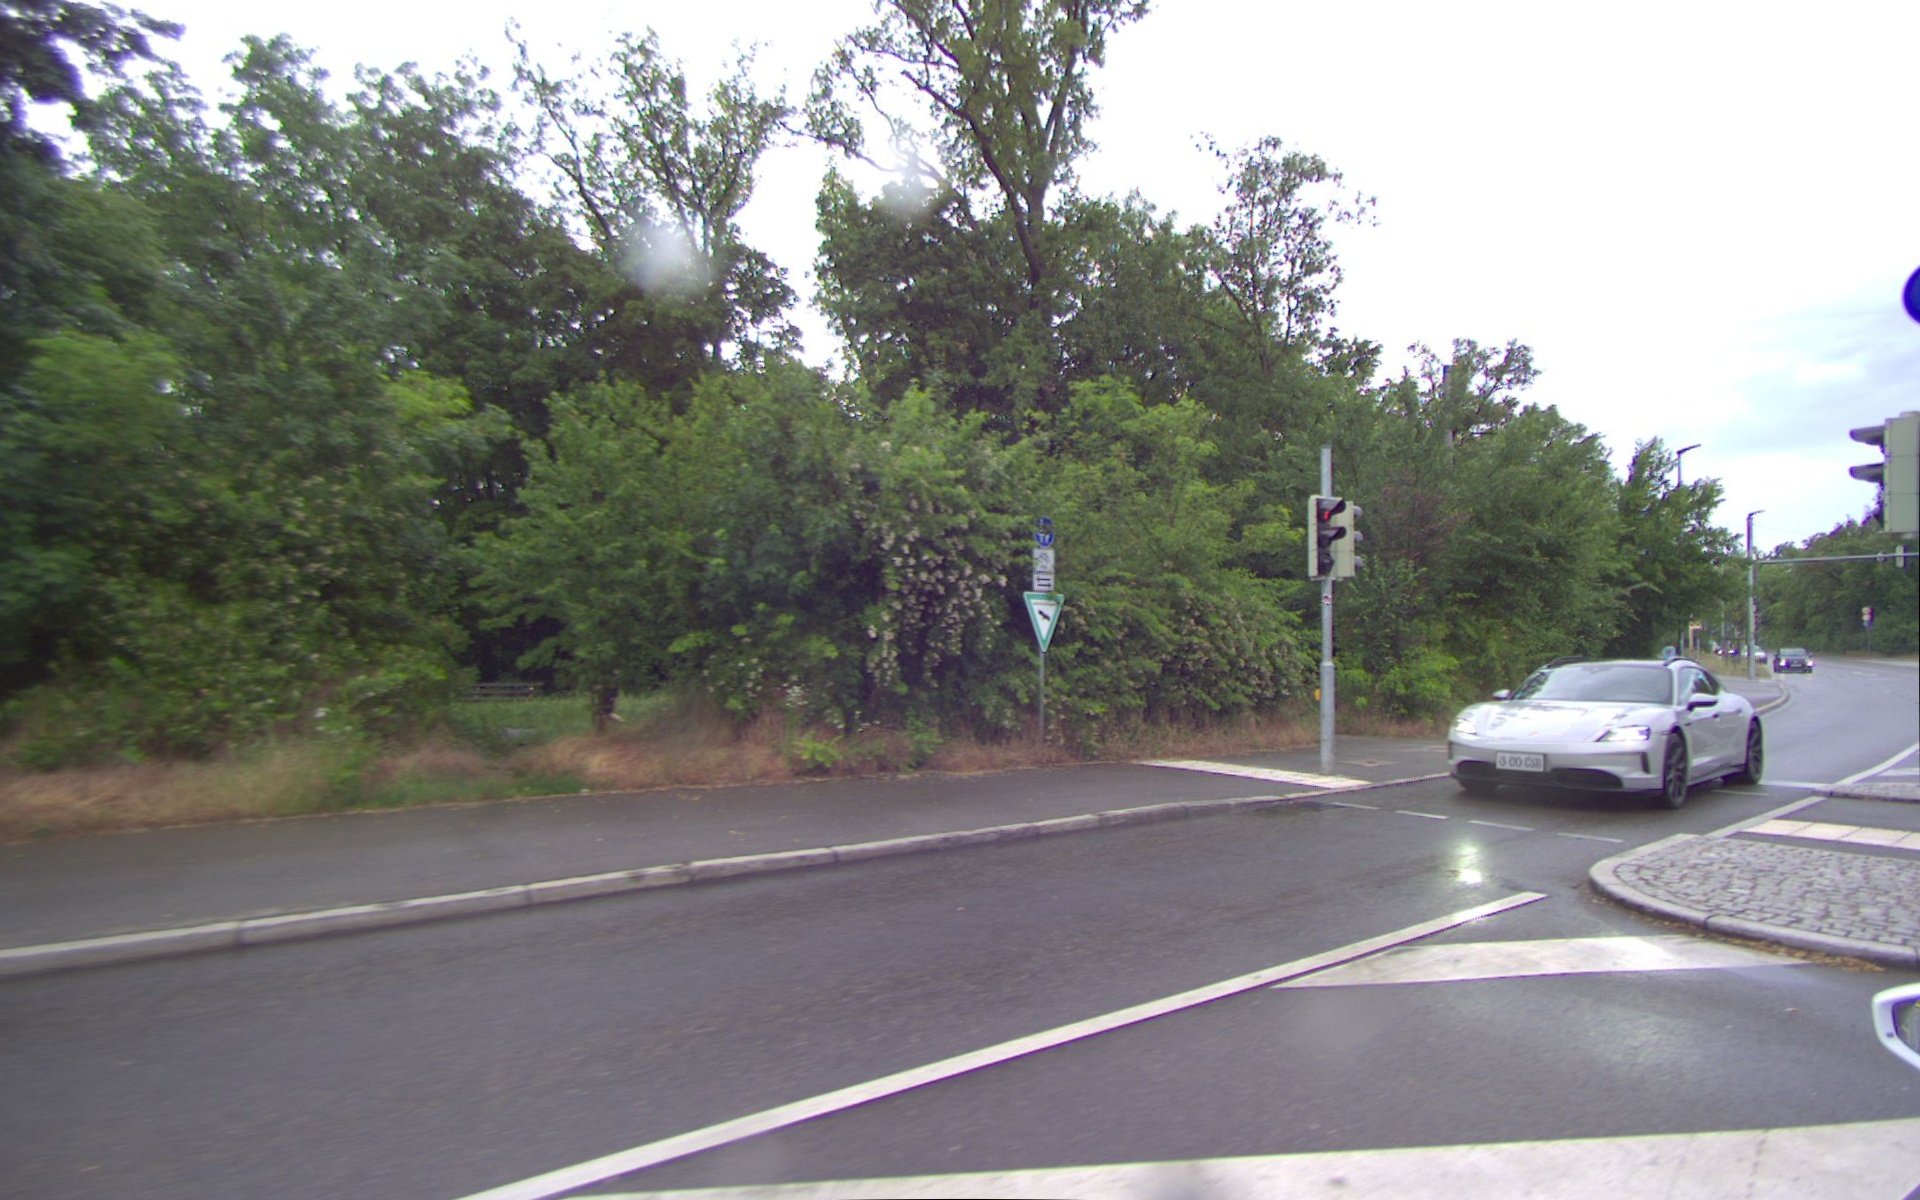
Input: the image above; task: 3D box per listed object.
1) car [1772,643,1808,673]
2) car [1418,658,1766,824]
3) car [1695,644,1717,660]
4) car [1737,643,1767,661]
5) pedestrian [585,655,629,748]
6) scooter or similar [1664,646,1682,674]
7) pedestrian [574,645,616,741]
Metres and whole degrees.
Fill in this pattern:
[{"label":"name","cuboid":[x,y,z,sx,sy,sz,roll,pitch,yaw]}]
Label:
[{"label":"car","cuboid":[50.372,3.494,61.004,1.557,1.753,3.758,-3,-4,39]},{"label":"car","cuboid":[6.969,1.337,10.876,4.568,1.394,1.924,2,-4,-41]},{"label":"car","cuboid":[80.278,5.577,108.171,1.766,1.602,4.546,-2,-3,36]},{"label":"car","cuboid":[62.981,4.089,79.924,1.719,1.369,4.194,-3,-4,36]},{"label":"pedestrian","cuboid":[-5.993,1.702,17.038,0.601,1.522,0.462,2,-2,-30]},{"label":"scooter or similar","cuboid":[33.192,2.784,46.757,0.512,1.228,1.461,-1,-2,42]},{"label":"pedestrian","cuboid":[-6.482,1.634,17.856,0.601,1.654,0.462,2,-2,-30]}]
